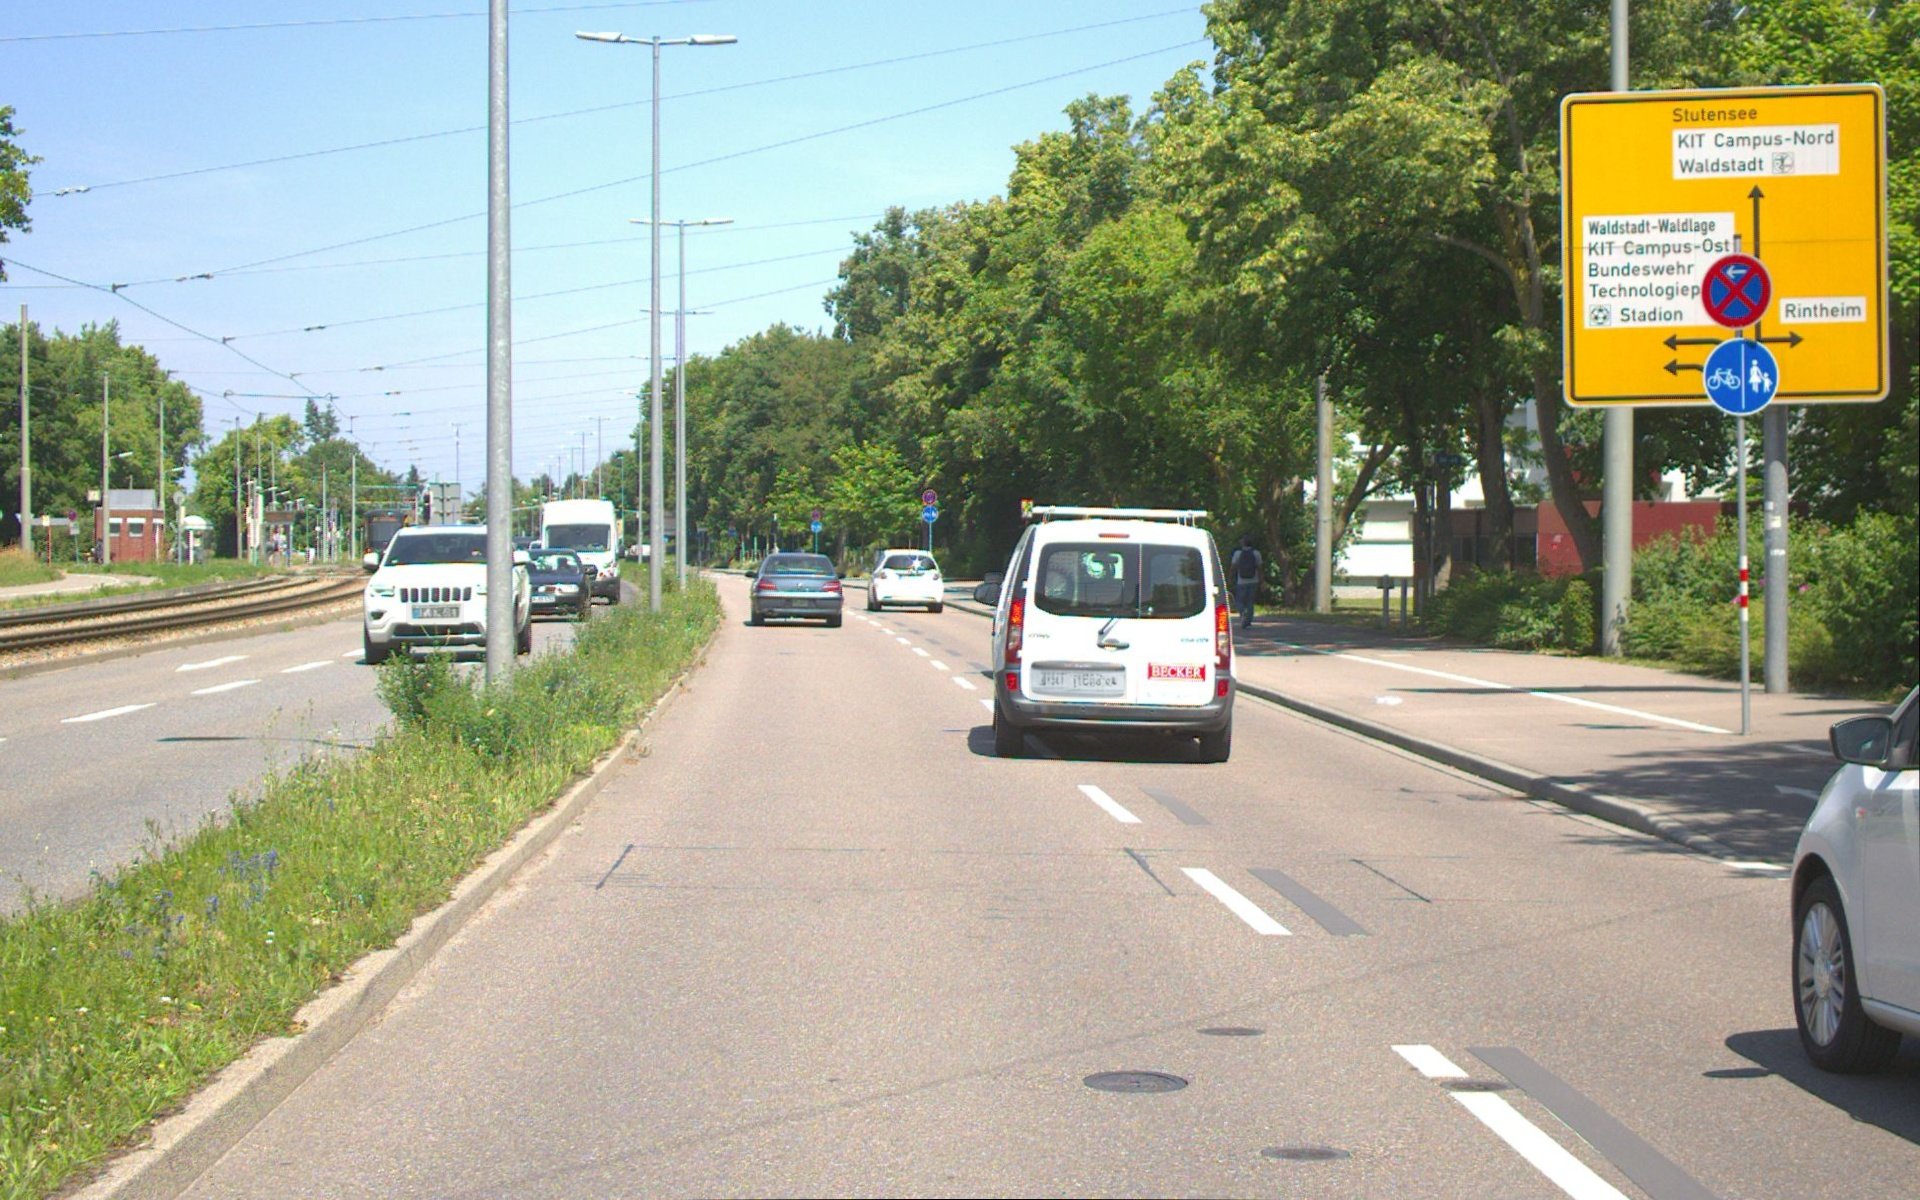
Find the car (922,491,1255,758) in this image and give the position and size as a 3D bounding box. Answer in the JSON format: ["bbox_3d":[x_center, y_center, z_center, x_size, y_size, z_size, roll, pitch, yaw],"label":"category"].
[{"bbox_3d":[0.908,0.152,26.965,1.824,1.875,4.457,2,1,-8],"label":"car"}]

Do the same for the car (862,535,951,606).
[{"bbox_3d":[-1.335,-0.722,84.128,1.803,1.534,4.001,6,0,-4],"label":"car"}]

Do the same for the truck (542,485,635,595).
[{"bbox_3d":[-9.553,-1.556,88.793,2.081,2.739,5.548,-1,1,-3],"label":"truck"}]

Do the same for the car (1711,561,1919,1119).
[{"bbox_3d":[3.331,0.641,8.933,1.658,1.444,3.855,1,1,-4],"label":"car"}]

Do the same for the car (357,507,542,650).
[{"bbox_3d":[-6.626,-0.315,45.031,1.900,1.742,4.588,-1,1,-2],"label":"car"}]

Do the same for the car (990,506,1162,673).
[{"bbox_3d":[1.321,-0.150,40.534,1.728,1.807,4.000,2,1,-1],"label":"car"}]

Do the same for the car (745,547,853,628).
[{"bbox_3d":[-3.120,-0.260,65.992,1.801,1.481,4.001,1,1,-6],"label":"car"}]

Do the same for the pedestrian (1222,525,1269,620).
[{"bbox_3d":[4.954,-0.479,59.738,0.668,1.638,0.856,1,0,-4],"label":"pedestrian"}]

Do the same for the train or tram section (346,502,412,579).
[{"bbox_3d":[-30.774,-3.072,183.204,2.787,3.655,37.527,1,1,-9],"label":"train or tram section"}]

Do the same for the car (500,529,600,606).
[{"bbox_3d":[-8.041,-0.664,67.630,1.716,1.454,3.914,0,1,-3],"label":"car"}]

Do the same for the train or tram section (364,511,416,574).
[{"bbox_3d":[-35.495,-3.533,214.576,2.787,3.655,26.005,1,1,-9],"label":"train or tram section"}]
